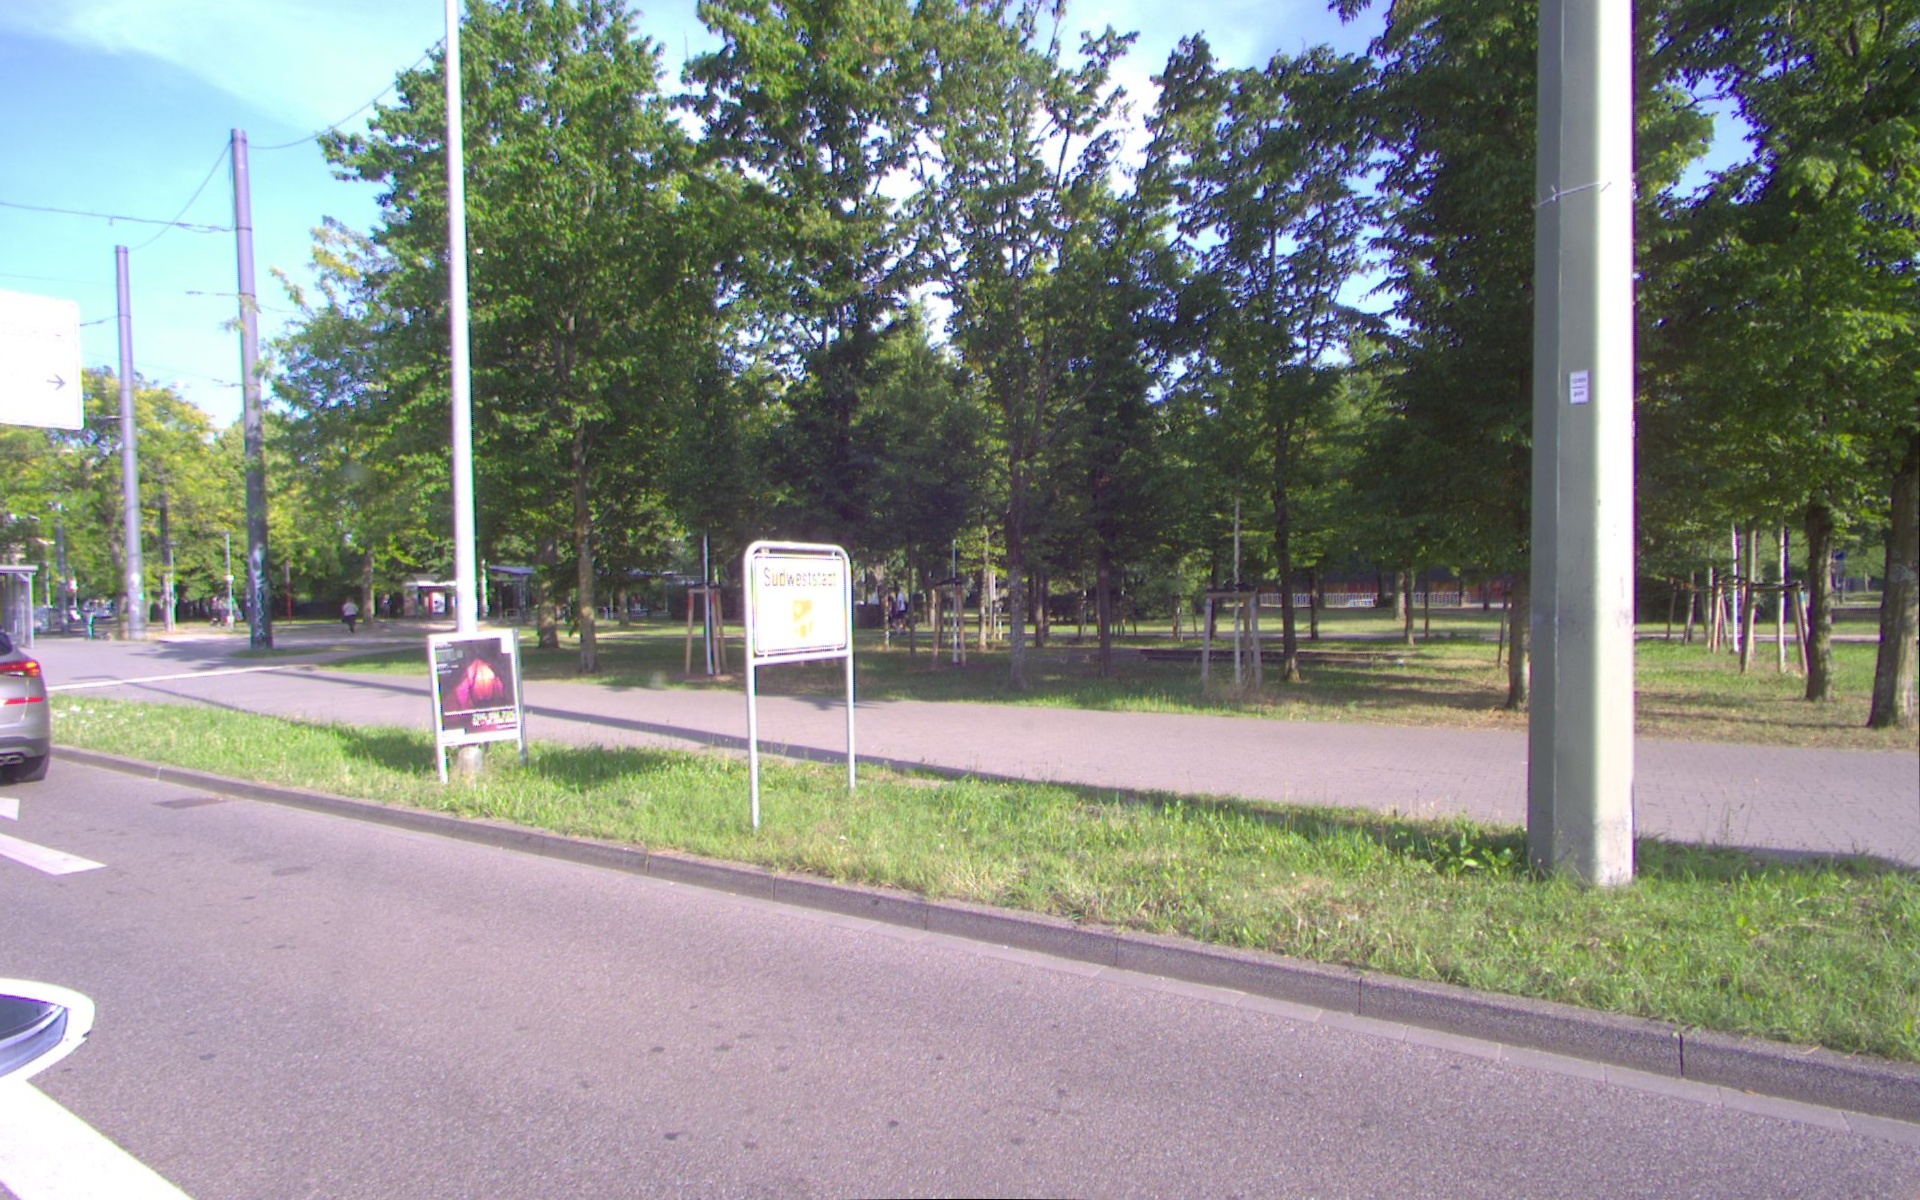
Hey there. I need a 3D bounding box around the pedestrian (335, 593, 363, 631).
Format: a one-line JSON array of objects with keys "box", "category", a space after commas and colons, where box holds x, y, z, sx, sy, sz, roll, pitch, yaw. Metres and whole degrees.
[{"box": [-27.527, 0.535, 45.145, 0.793, 1.659, 0.754, -1, 1, -7], "category": "pedestrian"}]

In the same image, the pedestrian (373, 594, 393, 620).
[{"box": [-36.828, 0.463, 63.894, 0.792, 1.659, 0.832, 0, 1, 38], "category": "pedestrian"}]

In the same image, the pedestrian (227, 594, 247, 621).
[{"box": [-40.009, 0.416, 55.408, 0.804, 1.508, 0.696, -2, 1, -33], "category": "pedestrian"}]

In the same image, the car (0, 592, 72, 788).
[{"box": [-9.993, 0.800, 9.144, 3.595, 1.673, 1.880, -1, 1, 32], "category": "car"}]

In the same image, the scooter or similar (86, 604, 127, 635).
[{"box": [-31.390, 0.723, 36.839, 1.305, 1.132, 0.420, -1, 1, 13], "category": "scooter or similar"}]

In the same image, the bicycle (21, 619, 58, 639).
[{"box": [-35.604, 1.113, 38.718, 2.138, 0.767, 0.494, -1, 2, 33], "category": "bicycle"}]

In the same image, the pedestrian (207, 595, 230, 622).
[{"box": [-41.049, 0.470, 55.426, 0.687, 1.508, 0.815, -1, 1, -9], "category": "pedestrian"}]

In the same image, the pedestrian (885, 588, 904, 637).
[{"box": [-2.485, 0.453, 37.884, 0.617, 1.836, 0.502, -1, 1, 6], "category": "pedestrian"}]

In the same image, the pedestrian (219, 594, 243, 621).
[{"box": [-41.113, 0.426, 56.453, 0.688, 1.508, 0.813, 0, 1, 22], "category": "pedestrian"}]

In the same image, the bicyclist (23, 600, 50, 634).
[{"box": [-35.703, 0.658, 38.693, 0.856, 1.279, 0.533, 0, 1, 32], "category": "bicyclist"}]

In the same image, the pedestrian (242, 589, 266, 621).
[{"box": [-40.269, 0.304, 57.139, 0.826, 1.809, 0.798, 0, 1, 28], "category": "pedestrian"}]

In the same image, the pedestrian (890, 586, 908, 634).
[{"box": [-2.369, 0.394, 38.892, 0.617, 1.836, 0.502, -1, 1, 3], "category": "pedestrian"}]
